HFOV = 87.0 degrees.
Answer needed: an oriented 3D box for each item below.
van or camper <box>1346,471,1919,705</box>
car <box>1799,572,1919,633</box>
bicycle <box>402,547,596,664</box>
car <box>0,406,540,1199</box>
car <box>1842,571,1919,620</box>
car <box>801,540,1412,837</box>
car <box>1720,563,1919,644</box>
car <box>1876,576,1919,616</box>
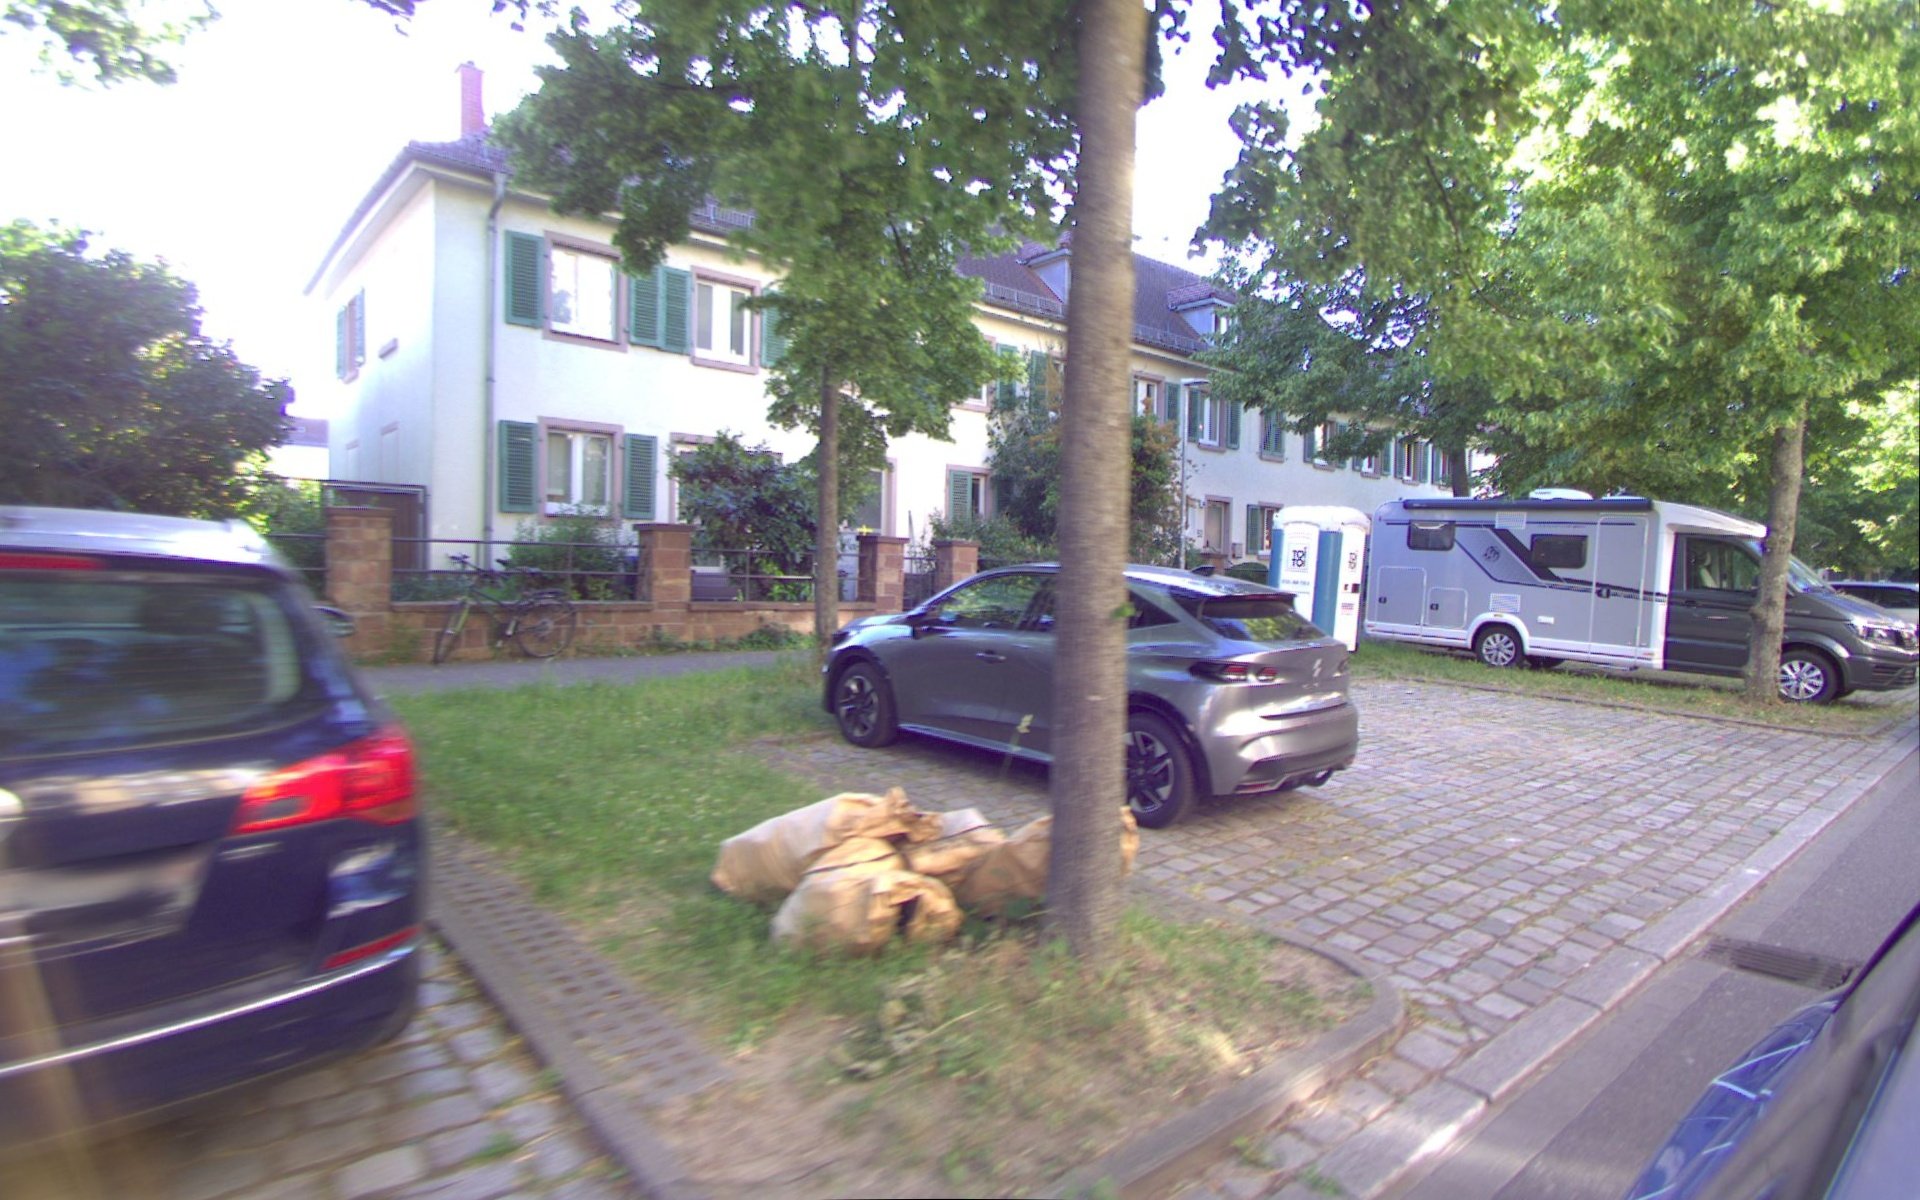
[{"bbox_3d":[9.789,-0.467,15.117,2.419,2.678,7.171,0,5,-38],"label":"van or camper"},{"bbox_3d":[29.881,0.117,32.323,4.543,1.652,1.784,7,6,44],"label":"car"},{"bbox_3d":[-4.860,0.030,10.738,1.788,1.142,0.565,-1,4,-41],"label":"bicycle"},{"bbox_3d":[-2.846,0.405,3.247,1.661,1.619,4.235,-2,4,-38],"label":"car"},{"bbox_3d":[37.517,-0.076,39.261,1.872,1.697,4.597,0,5,-38],"label":"car"},{"bbox_3d":[0.751,0.353,7.046,1.663,1.472,4.036,0,2,-44],"label":"car"},{"bbox_3d":[22.220,0.051,25.414,1.800,1.730,4.633,0,4,-39],"label":"car"},{"bbox_3d":[42.949,-0.039,43.884,1.843,1.652,4.487,0,5,-41],"label":"car"}]
